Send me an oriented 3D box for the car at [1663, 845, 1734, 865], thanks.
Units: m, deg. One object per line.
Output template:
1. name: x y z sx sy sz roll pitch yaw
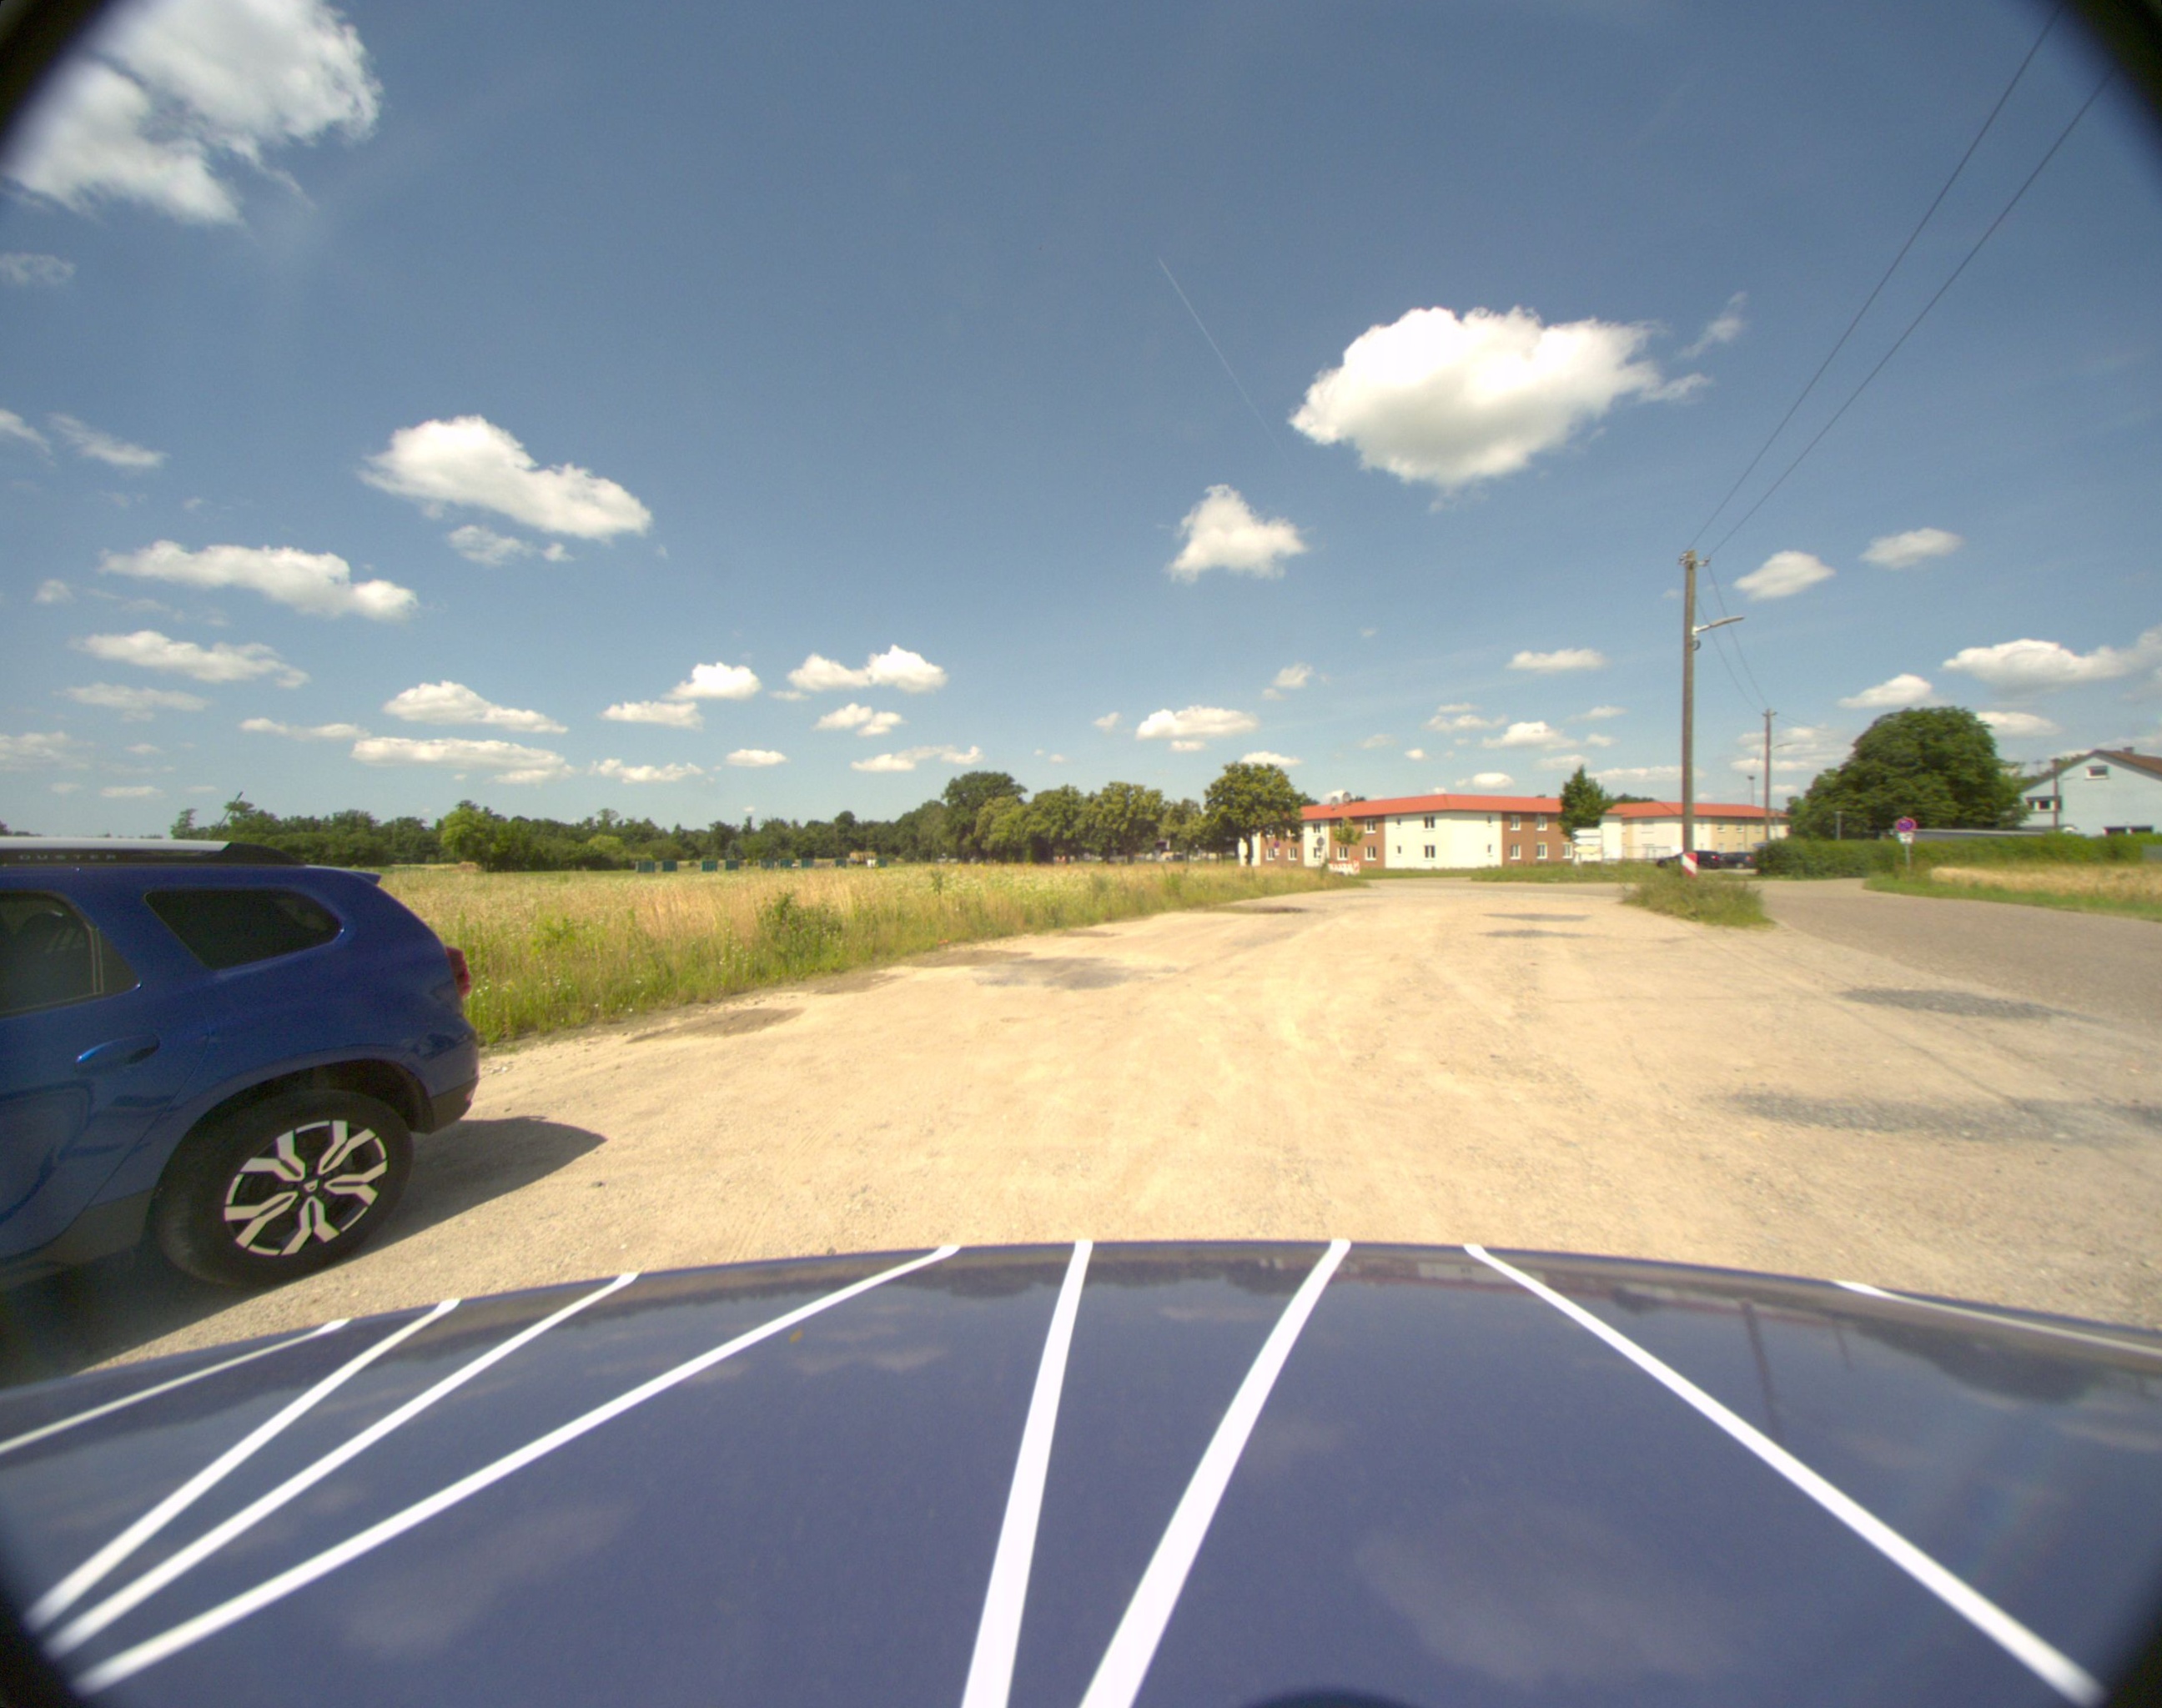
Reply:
1. car: 51.624 0.108 63.627 2.003 1.605 4.139 -1 0 -26

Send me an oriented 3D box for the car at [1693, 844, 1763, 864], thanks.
1. car: 55.316 -0.011 65.030 2.003 1.605 4.139 -1 0 -26

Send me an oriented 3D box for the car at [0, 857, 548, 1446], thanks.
1. car: -4.224 0.916 1.856 1.860 1.651 4.464 -2 1 19
